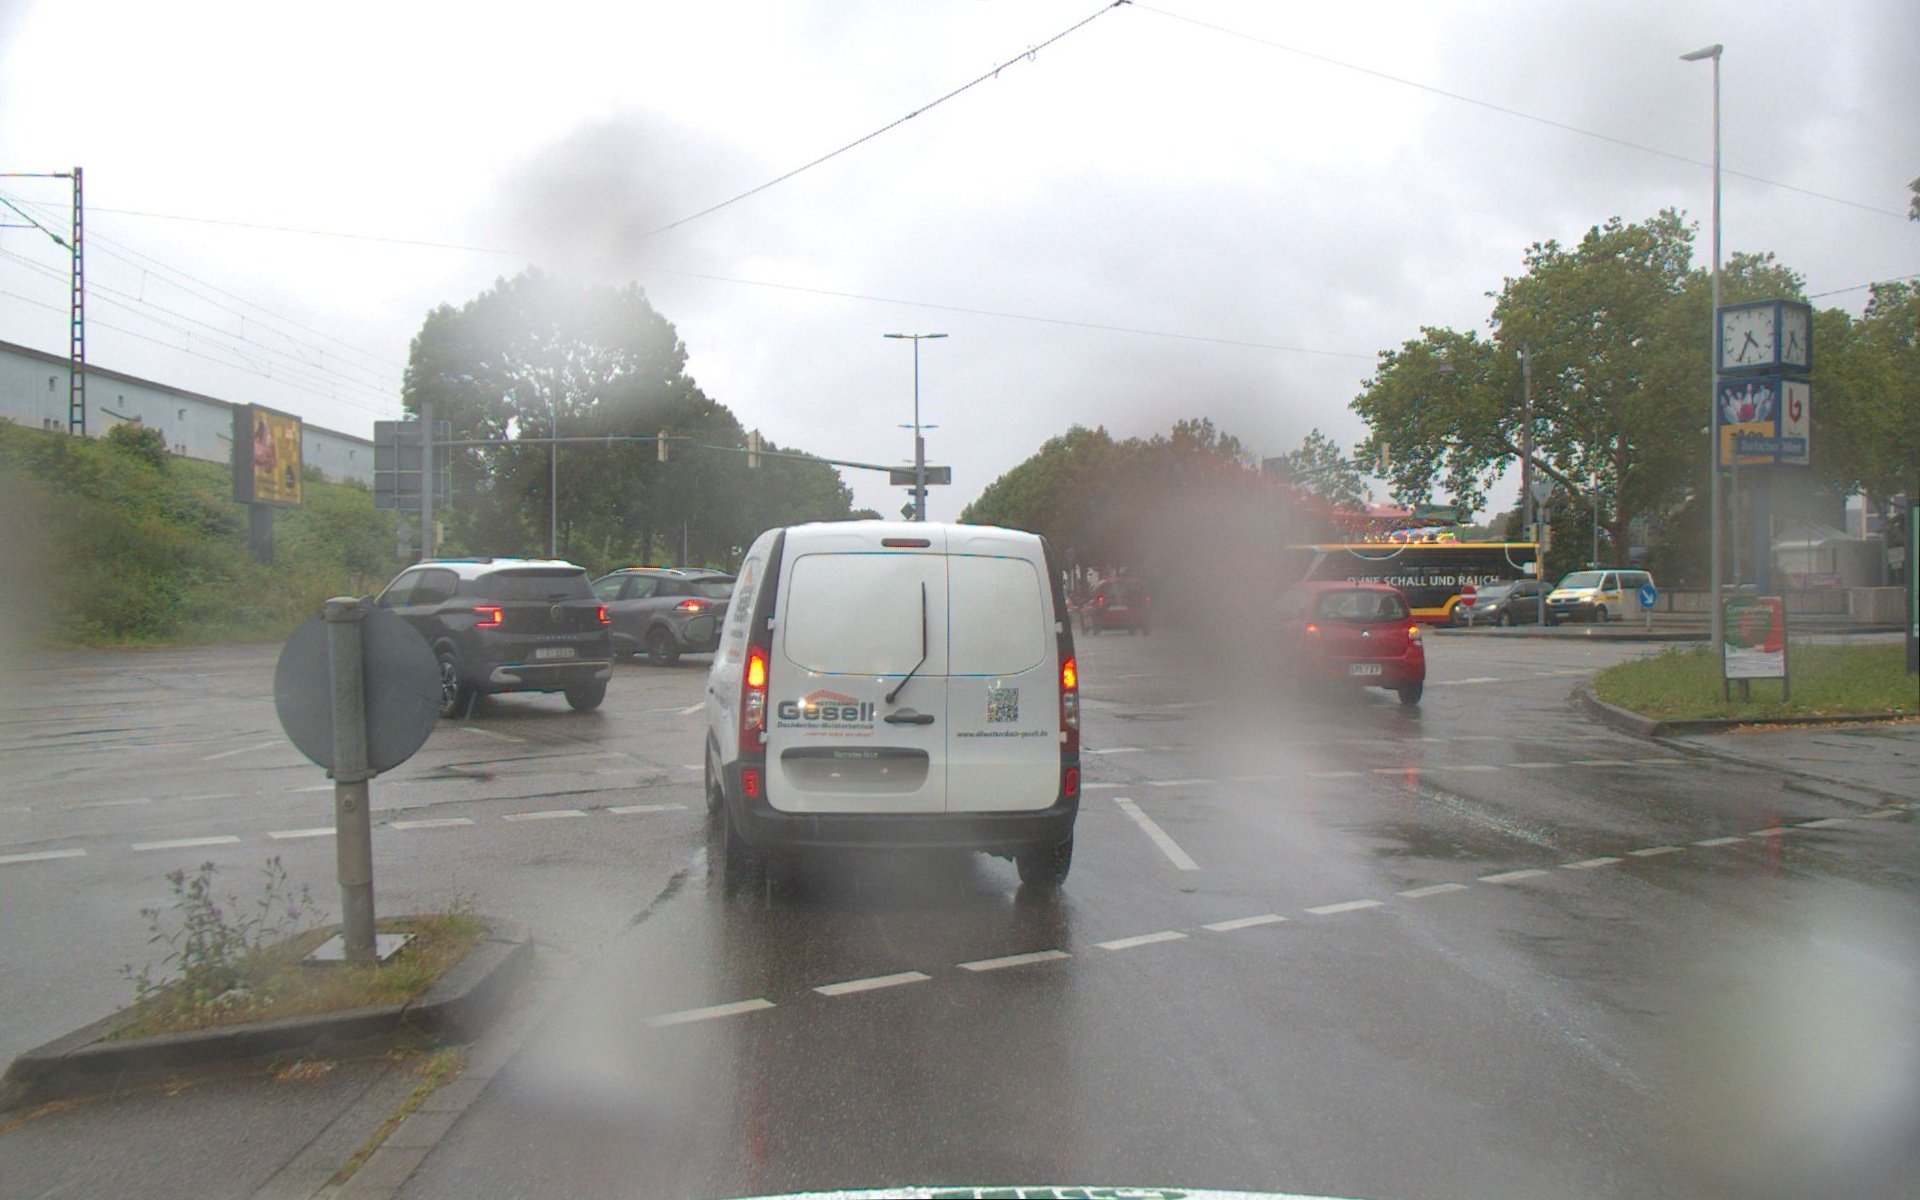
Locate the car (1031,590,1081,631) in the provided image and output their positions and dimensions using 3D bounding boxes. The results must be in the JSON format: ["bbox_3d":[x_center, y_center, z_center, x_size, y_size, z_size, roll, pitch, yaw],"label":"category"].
[{"bbox_3d":[4.059,0.428,70.568,1.805,1.646,4.000,1,0,-1],"label":"car"}]

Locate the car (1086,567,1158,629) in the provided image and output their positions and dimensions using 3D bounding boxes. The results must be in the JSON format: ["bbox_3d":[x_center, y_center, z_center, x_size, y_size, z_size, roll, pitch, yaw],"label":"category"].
[{"bbox_3d":[4.658,-0.065,47.894,1.599,1.684,3.483,2,1,-2],"label":"car"}]

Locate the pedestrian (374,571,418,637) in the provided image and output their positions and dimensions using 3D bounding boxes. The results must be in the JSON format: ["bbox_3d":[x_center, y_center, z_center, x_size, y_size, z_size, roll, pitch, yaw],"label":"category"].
[{"bbox_3d":[-15.077,0.111,44.239,0.984,1.749,0.818,0,0,-10],"label":"pedestrian"}]

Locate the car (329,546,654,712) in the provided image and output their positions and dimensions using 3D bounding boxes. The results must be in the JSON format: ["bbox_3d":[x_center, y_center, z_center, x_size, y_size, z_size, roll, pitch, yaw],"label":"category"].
[{"bbox_3d":[-5.301,0.252,18.438,1.909,1.637,3.936,-1,1,-43],"label":"car"}]

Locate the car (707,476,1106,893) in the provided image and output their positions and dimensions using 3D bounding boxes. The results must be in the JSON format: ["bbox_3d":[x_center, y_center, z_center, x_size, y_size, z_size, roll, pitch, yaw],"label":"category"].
[{"bbox_3d":[-0.504,0.366,9.314,1.723,1.808,3.993,2,0,-8],"label":"car"}]

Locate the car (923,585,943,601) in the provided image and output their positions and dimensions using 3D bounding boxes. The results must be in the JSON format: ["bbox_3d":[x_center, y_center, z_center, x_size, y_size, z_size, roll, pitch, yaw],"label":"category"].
[{"bbox_3d":[-2.736,-0.726,166.979,1.956,1.646,3.998,-1,1,-2],"label":"car"}]

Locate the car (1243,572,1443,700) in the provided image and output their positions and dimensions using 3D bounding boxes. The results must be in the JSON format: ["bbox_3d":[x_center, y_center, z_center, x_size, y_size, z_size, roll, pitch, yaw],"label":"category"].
[{"bbox_3d":[4.891,0.410,21.589,1.645,1.517,3.620,1,1,-2],"label":"car"}]

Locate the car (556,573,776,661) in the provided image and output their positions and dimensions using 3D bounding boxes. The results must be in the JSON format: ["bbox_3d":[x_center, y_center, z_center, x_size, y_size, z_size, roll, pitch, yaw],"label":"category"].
[{"bbox_3d":[-4.672,0.229,26.196,3.190,1.306,1.681,0,1,34],"label":"car"}]

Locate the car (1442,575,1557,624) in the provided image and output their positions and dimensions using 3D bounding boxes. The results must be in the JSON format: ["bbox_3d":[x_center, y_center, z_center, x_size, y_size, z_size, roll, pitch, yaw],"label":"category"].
[{"bbox_3d":[19.329,-0.048,59.173,4.299,1.680,1.907,-1,1,-39],"label":"car"}]

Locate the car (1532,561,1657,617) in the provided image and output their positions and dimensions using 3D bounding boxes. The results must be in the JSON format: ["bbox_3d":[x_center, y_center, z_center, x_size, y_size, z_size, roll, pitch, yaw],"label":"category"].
[{"bbox_3d":[22.322,-0.403,58.085,4.699,1.881,2.049,-1,1,-39],"label":"car"}]

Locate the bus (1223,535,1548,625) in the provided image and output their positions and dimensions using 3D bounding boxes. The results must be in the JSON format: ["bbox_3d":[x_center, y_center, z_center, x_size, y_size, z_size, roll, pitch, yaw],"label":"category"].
[{"bbox_3d":[16.658,-0.794,65.253,12.004,3.325,3.273,-1,0,-3],"label":"bus"}]

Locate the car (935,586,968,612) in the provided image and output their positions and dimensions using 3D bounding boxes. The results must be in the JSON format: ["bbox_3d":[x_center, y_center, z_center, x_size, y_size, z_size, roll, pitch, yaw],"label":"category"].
[{"bbox_3d":[-0.568,-0.069,106.903,1.956,1.646,3.998,-1,1,-2],"label":"car"}]

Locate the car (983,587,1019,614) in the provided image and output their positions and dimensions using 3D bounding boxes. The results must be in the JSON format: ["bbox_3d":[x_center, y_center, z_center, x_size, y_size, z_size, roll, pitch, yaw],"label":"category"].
[{"bbox_3d":[2.558,0.001,103.984,1.956,1.646,3.998,-1,1,-2],"label":"car"}]

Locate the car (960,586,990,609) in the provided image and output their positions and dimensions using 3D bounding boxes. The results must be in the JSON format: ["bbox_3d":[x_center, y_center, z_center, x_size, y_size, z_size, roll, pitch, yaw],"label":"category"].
[{"bbox_3d":[1.095,-0.206,121.665,1.956,1.646,3.998,-1,1,-2],"label":"car"}]

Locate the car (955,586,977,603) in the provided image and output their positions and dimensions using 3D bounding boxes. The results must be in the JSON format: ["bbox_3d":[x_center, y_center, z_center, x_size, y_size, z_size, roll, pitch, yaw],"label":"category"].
[{"bbox_3d":[0.615,-0.537,163.075,1.956,1.646,3.998,-1,1,-2],"label":"car"}]
